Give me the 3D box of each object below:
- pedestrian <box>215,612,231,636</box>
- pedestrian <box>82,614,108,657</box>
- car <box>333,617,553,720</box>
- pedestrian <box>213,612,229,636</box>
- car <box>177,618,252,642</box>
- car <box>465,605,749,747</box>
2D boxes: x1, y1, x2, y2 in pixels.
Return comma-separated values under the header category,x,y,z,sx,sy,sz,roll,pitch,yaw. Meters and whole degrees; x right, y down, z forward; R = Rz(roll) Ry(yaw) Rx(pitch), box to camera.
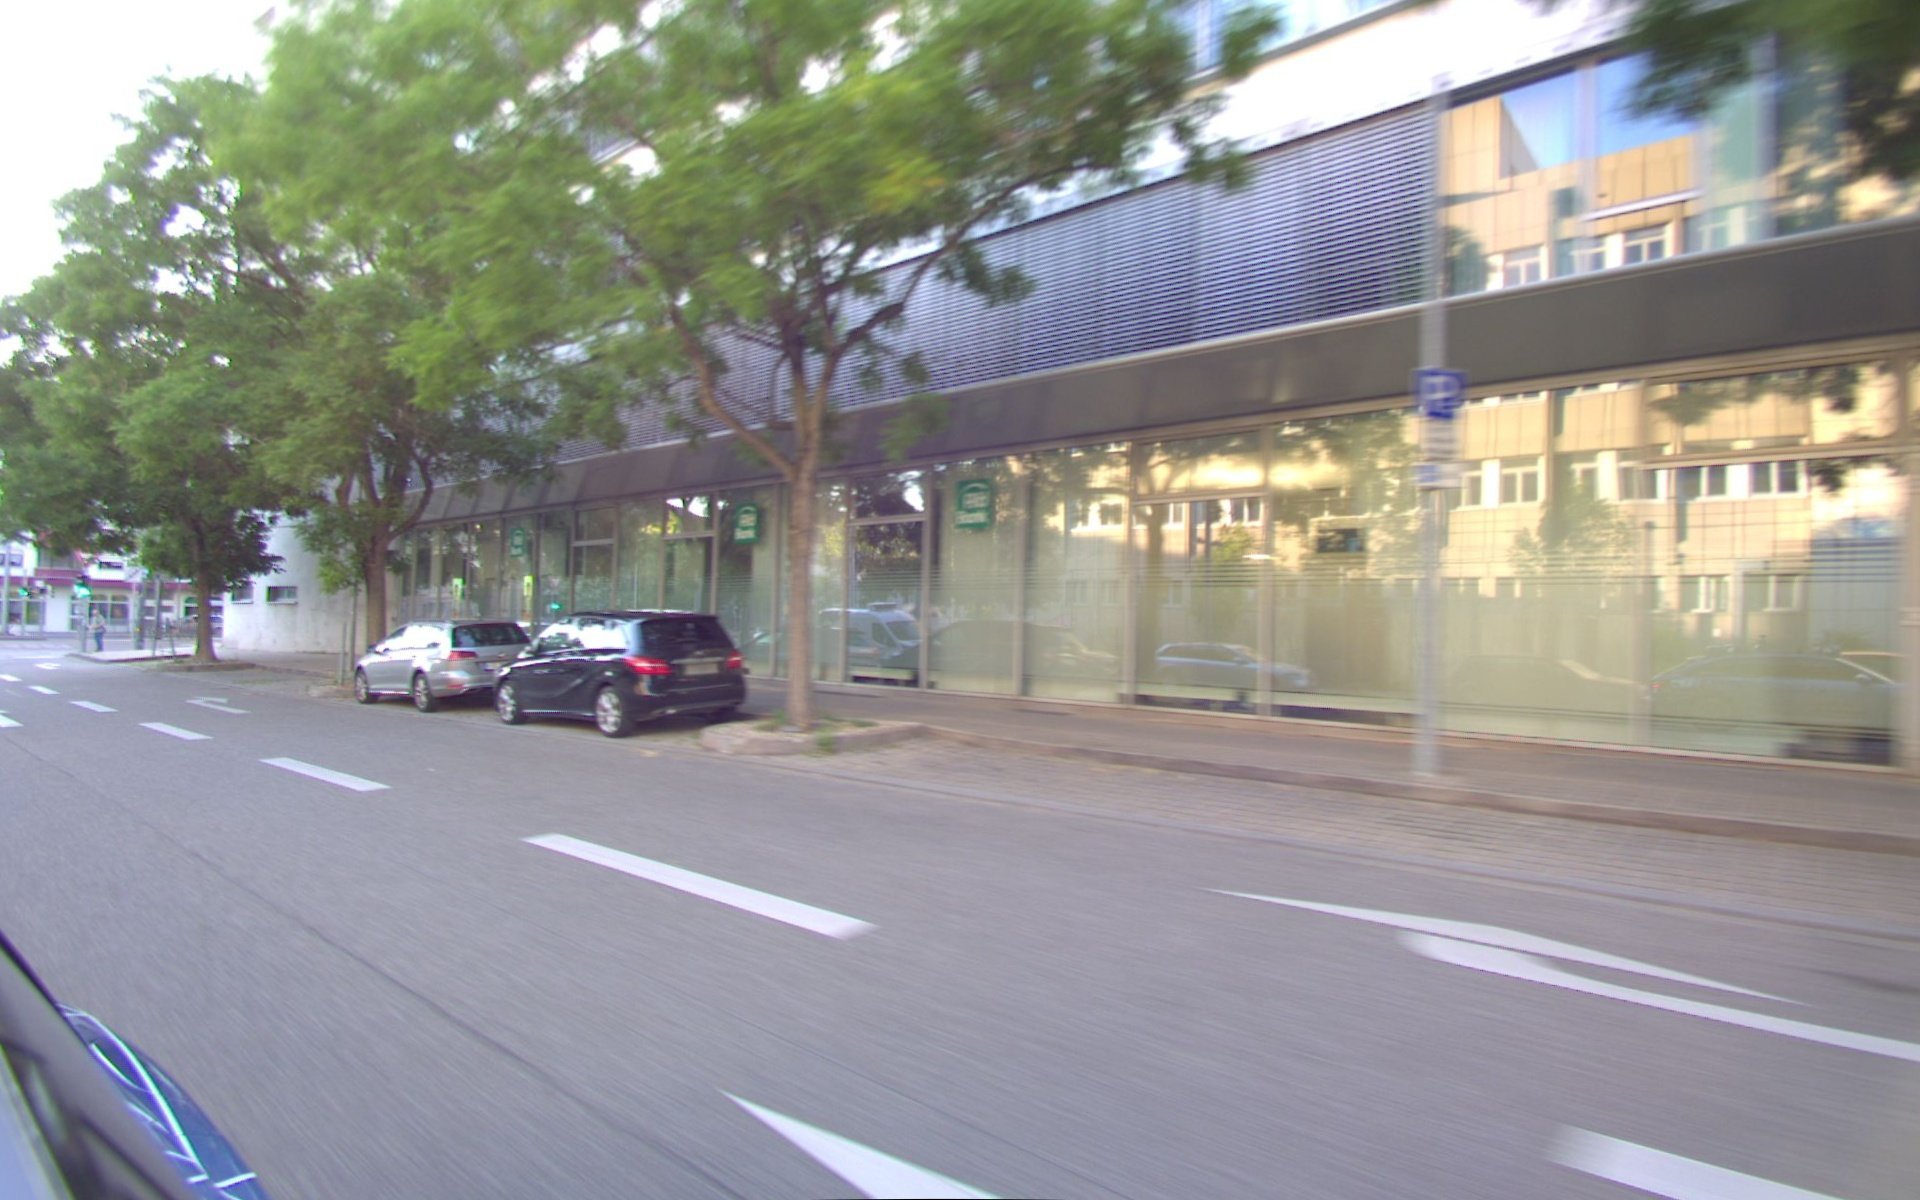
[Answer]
category,x,y,z,sx,sy,sz,roll,pitch,yaw
pedestrian,-57.045,1.886,78.365,0.691,1.820,0.824,-1,-2,42
pedestrian,-35.144,1.432,41.131,0.537,1.714,0.710,2,-2,-22
car,-8.832,1.047,17.113,4.624,1.472,1.686,-1,1,41
pedestrian,-56.568,1.814,77.491,0.691,1.820,0.824,-1,-2,42
car,-53.116,2.161,72.159,1.665,1.608,4.046,-1,-2,41
car,-4.862,0.893,13.596,4.469,1.580,1.573,-1,1,41
